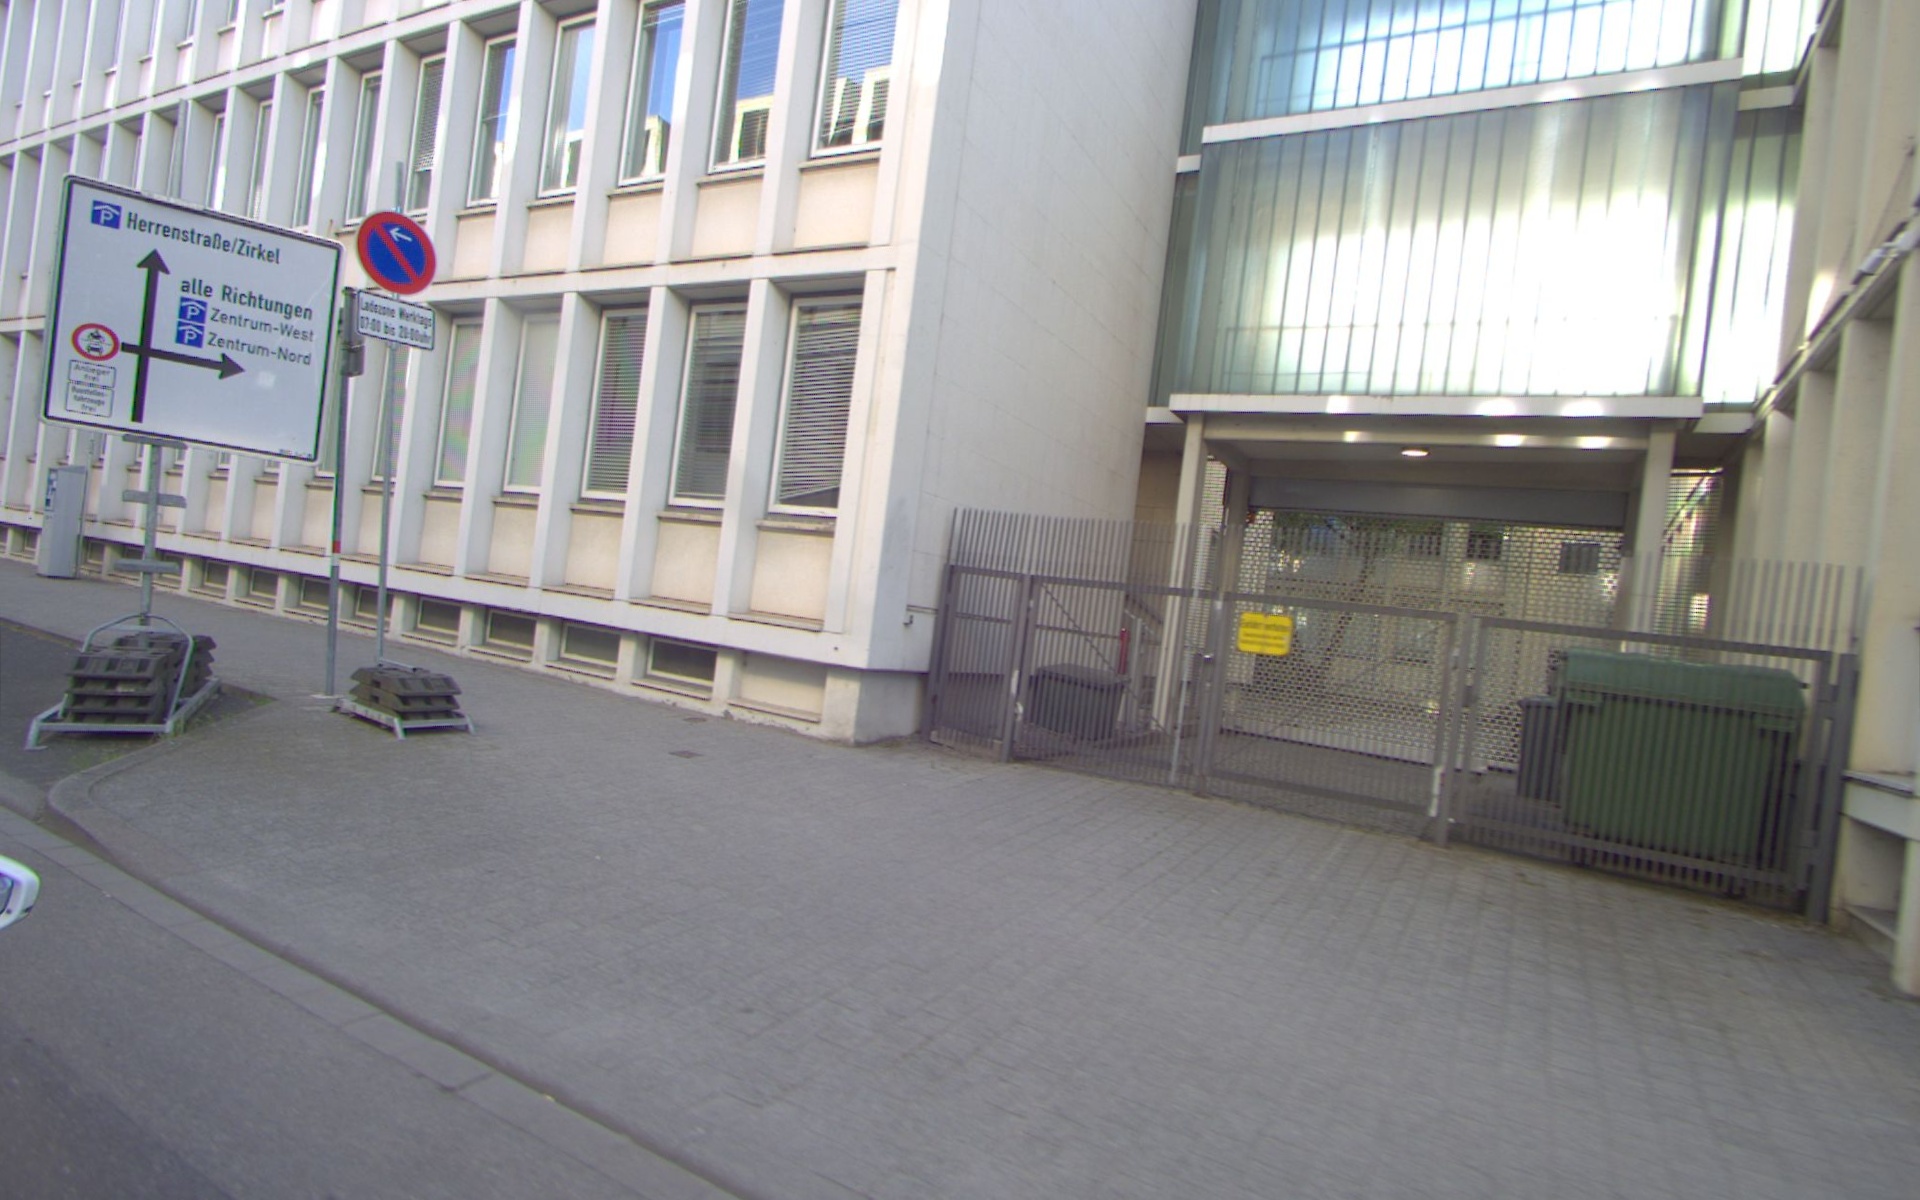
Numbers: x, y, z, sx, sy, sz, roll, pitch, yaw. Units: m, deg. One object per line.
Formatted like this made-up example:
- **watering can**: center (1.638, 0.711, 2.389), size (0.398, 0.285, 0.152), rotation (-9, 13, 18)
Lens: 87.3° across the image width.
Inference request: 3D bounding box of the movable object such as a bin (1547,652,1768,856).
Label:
- **movable object such as a bin**: center (5.931, 1.274, 8.674), size (1.360, 1.453, 0.969), rotation (6, -1, 30)

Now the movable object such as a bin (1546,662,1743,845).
- **movable object such as a bin**: center (6.478, 1.419, 9.632), size (1.360, 1.453, 0.969), rotation (6, -1, 30)

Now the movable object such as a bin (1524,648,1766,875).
- **movable object such as a bin**: center (5.264, 1.198, 7.859), size (1.360, 1.453, 0.969), rotation (6, -1, 30)

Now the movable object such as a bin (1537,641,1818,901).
- **movable object such as a bin**: center (4.840, 1.110, 6.933), size (1.360, 1.453, 0.969), rotation (6, -1, 30)
